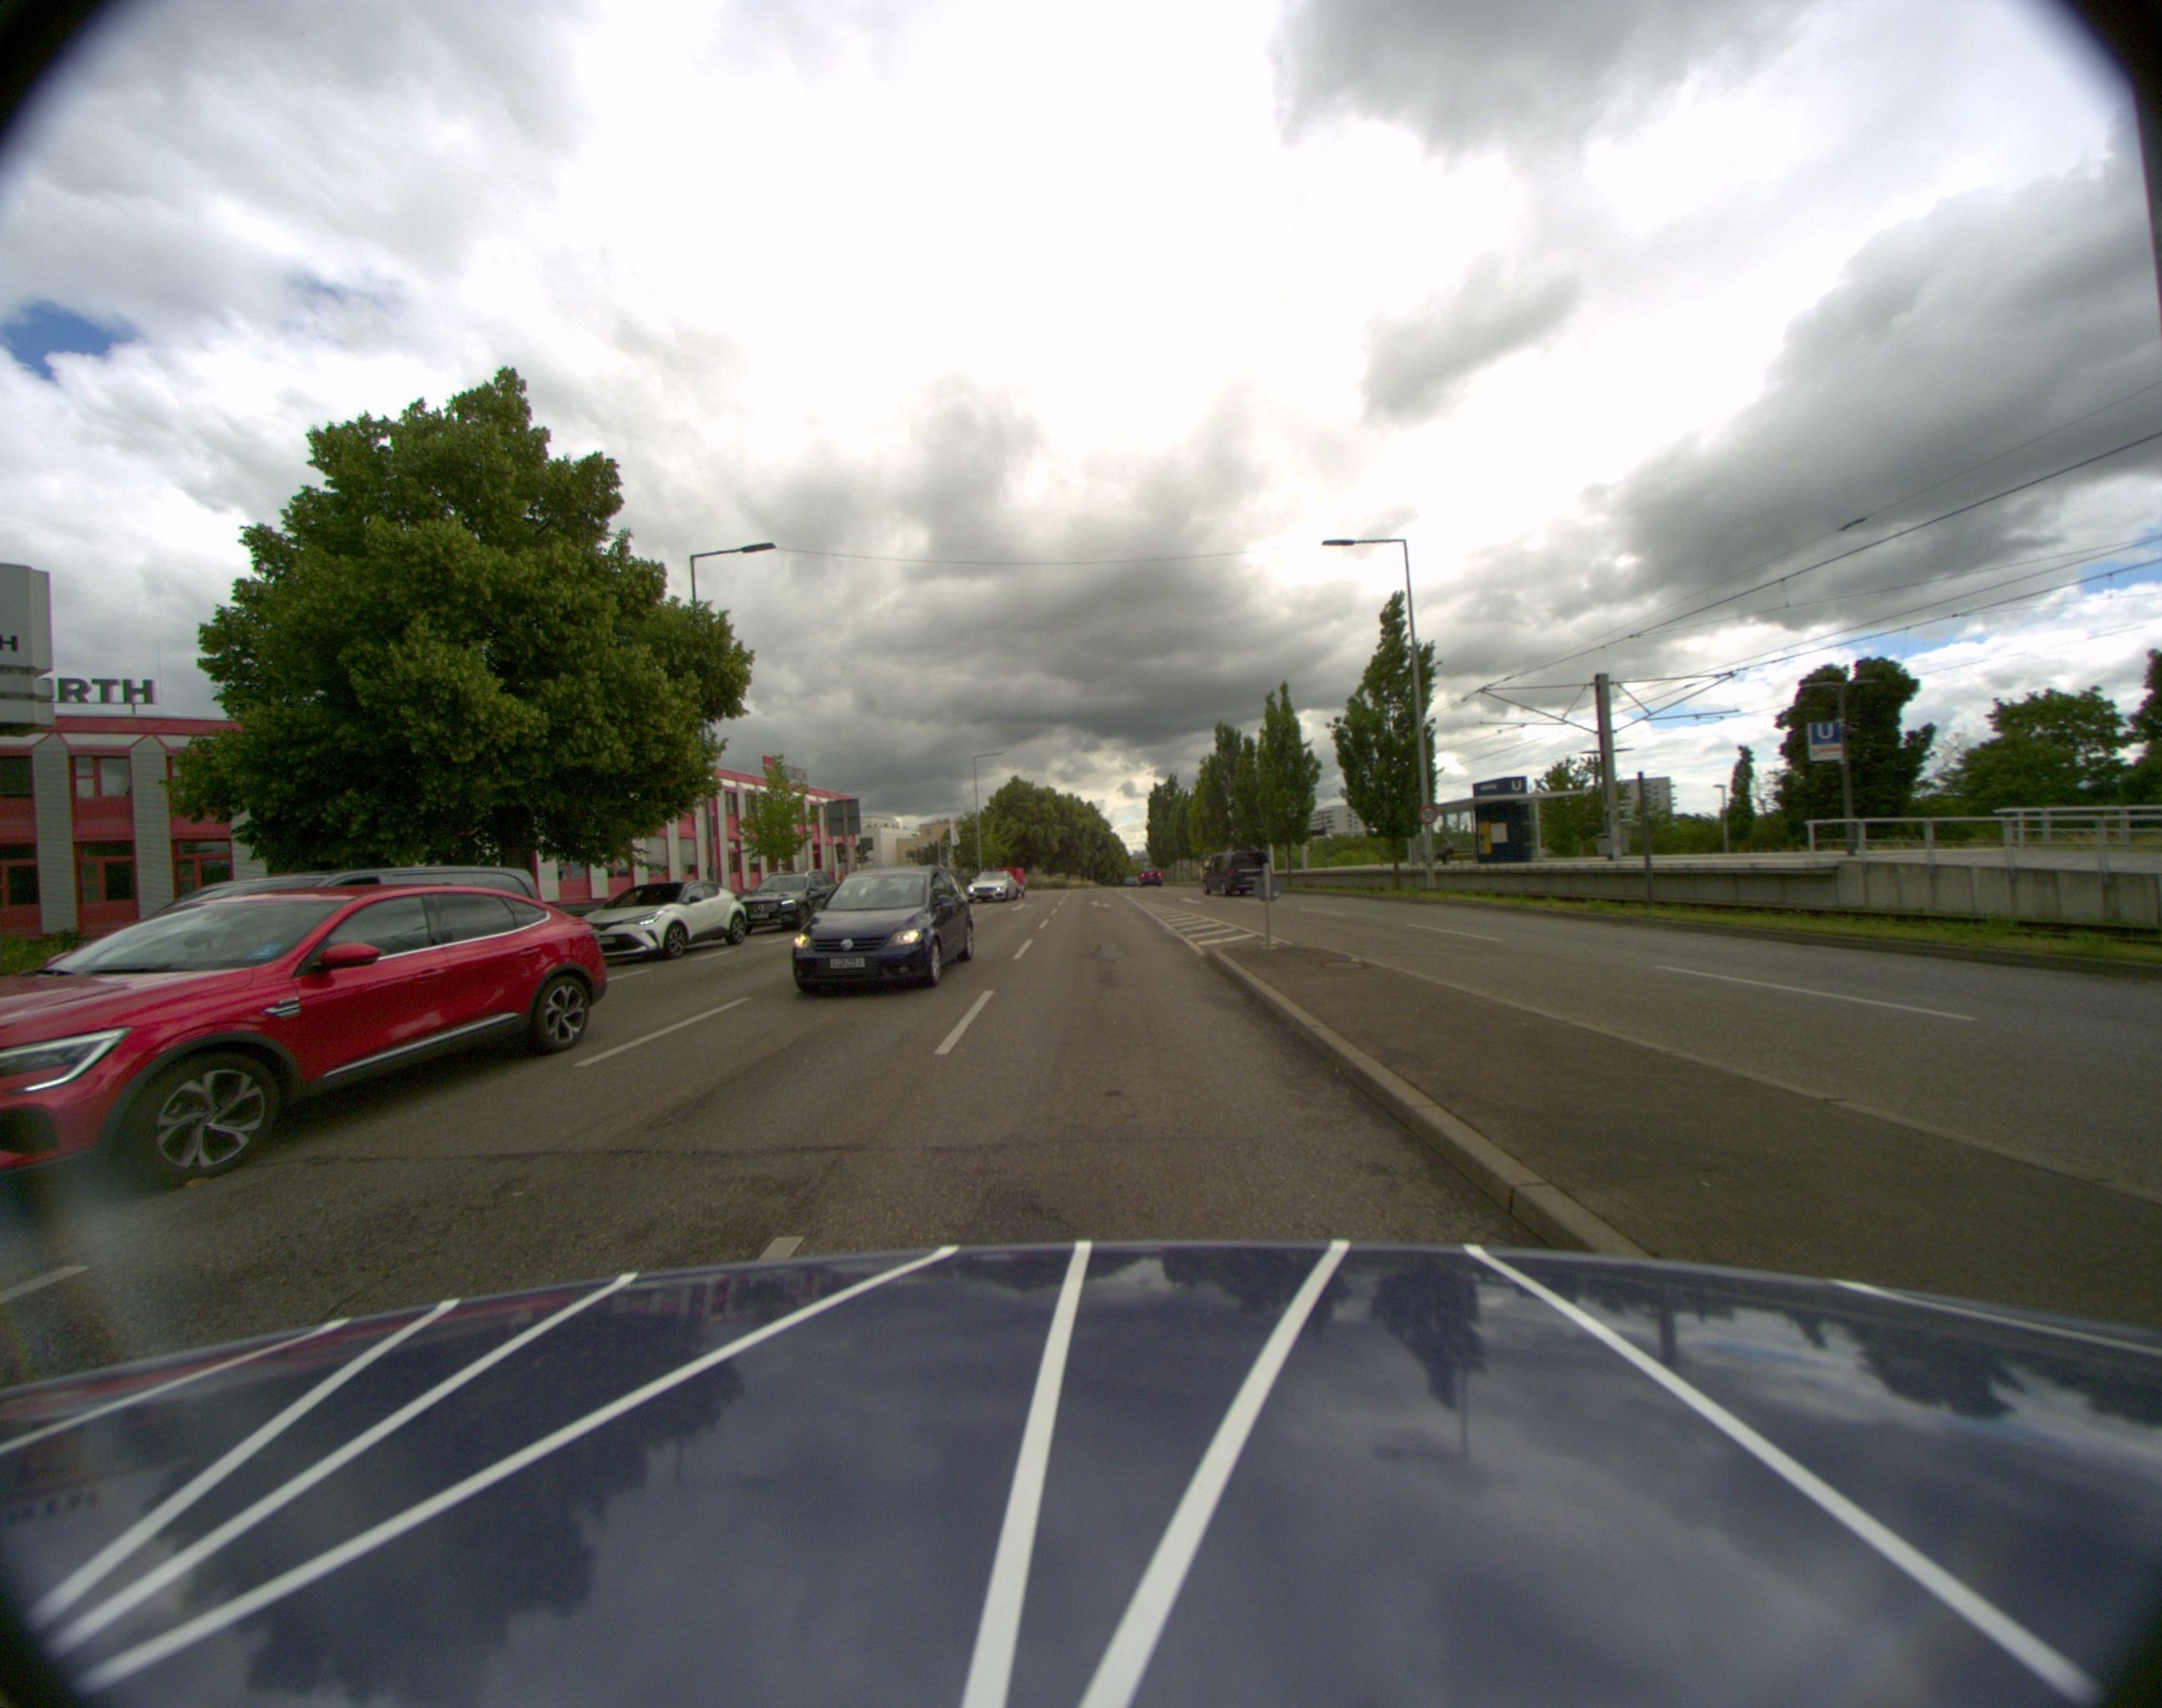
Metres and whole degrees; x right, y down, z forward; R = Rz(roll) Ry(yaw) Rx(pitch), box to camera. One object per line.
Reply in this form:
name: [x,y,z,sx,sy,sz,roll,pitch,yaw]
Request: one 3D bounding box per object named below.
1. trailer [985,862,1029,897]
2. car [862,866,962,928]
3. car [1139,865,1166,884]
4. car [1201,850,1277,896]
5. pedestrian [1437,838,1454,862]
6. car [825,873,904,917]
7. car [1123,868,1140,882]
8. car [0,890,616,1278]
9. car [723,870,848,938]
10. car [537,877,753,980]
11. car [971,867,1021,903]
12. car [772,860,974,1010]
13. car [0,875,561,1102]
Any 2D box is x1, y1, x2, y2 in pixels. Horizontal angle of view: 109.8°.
trailer: [-3.914,1.327,40.665,1.775,1.650,3.996,-2,1,1]
car: [-4.983,1.226,23.004,1.797,1.521,4.219,-2,1,3]
car: [5.946,1.691,63.825,1.740,1.499,3.659,-2,0,-2]
car: [6.798,0.801,33.250,1.893,1.802,5.091,-2,-1,-4]
pedestrian: [17.620,-0.184,36.728,0.601,1.148,0.447,-2,1,1]
car: [-8.391,1.556,29.803,1.763,1.431,4.370,-3,0,0]
car: [6.230,2.548,94.118,1.761,1.519,3.600,-2,1,-1]
car: [-5.549,1.117,5.288,1.851,1.521,4.377,-2,-1,0]
car: [-8.438,1.367,22.149,1.865,1.648,4.209,-4,-1,1]
car: [-8.587,1.377,15.476,1.844,1.507,4.106,-6,0,1]
car: [-3.998,1.424,36.468,1.775,1.442,4.401,-2,1,1]
car: [-2.670,0.945,10.739,1.669,1.589,3.996,-2,1,0]
car: [-8.758,1.249,8.951,1.763,1.764,4.676,-6,-1,2]
